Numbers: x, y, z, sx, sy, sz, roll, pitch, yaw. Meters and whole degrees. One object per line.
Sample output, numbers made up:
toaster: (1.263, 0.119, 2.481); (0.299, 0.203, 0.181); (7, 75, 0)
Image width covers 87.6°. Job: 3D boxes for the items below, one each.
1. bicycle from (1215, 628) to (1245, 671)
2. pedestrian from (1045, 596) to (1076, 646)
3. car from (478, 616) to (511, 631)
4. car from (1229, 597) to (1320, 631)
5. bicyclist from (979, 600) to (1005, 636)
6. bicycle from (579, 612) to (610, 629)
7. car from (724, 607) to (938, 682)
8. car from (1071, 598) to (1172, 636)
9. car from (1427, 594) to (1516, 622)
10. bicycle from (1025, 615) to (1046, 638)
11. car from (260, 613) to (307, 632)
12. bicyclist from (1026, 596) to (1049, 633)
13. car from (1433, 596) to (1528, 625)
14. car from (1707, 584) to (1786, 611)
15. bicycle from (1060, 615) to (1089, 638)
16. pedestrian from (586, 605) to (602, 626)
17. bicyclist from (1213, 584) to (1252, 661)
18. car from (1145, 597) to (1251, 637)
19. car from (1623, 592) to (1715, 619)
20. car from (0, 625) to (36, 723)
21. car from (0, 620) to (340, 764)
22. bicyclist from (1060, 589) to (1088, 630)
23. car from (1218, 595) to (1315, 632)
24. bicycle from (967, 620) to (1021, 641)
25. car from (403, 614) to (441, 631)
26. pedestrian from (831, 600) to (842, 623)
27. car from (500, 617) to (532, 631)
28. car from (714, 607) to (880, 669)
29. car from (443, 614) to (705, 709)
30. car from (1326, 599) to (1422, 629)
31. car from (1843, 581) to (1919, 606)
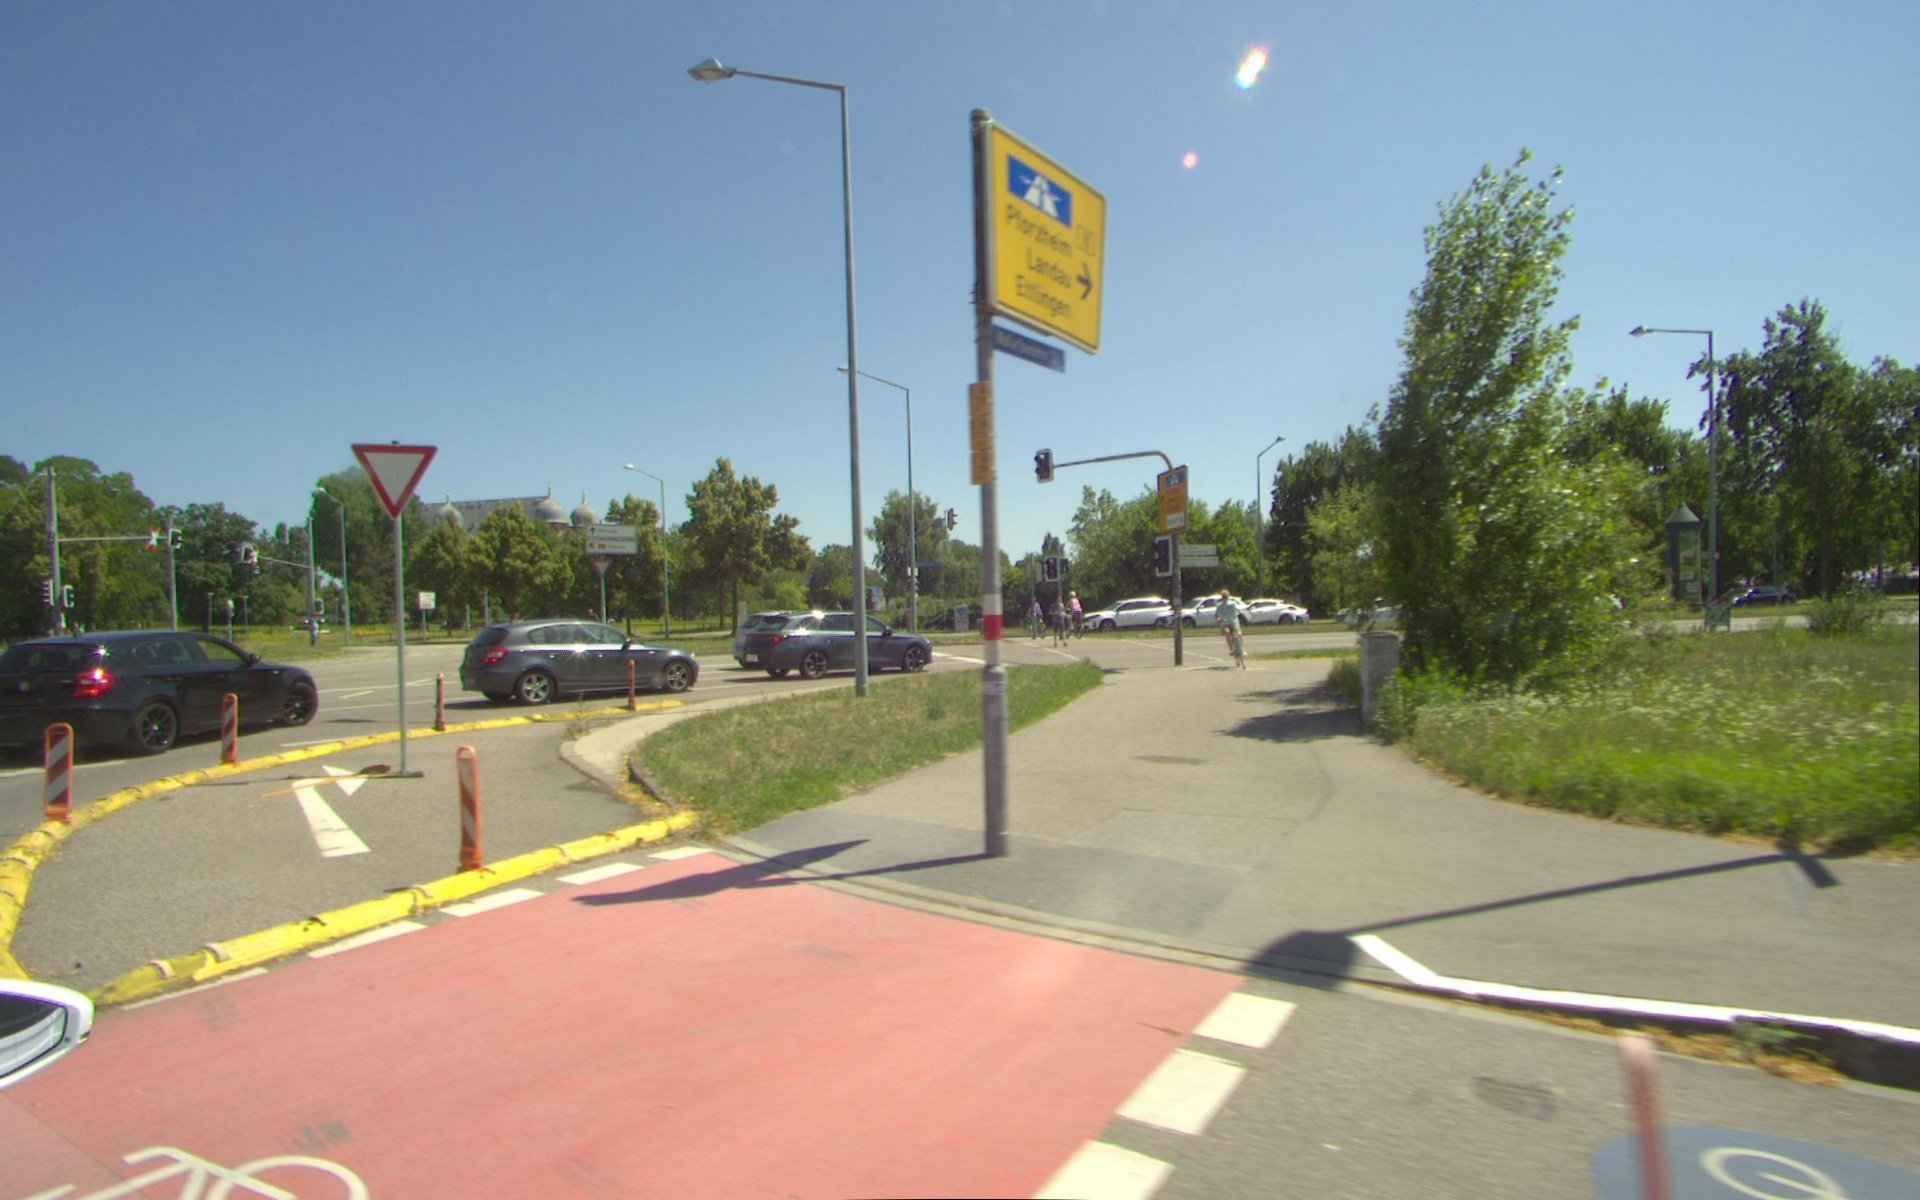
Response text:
bicycle: (6.015, 1.089, 22.301); (0.617, 0.890, 1.874); (-1, -1, 15)
pedestrian: (3.428, 0.730, 34.126); (0.743, 1.658, 0.955); (-1, -1, -14)
car: (-65.001, 3.301, 139.940); (3.930, 2.039, 1.997); (0, -1, -18)
car: (16.748, 0.743, 53.360); (4.328, 1.705, 1.862); (-1, 0, -15)
bicyclist: (1.486, 0.848, 47.051); (0.748, 1.634, 0.969); (0, -2, -43)
bicycle: (-25.572, 1.453, 70.053); (2.024, 1.129, 0.728); (-2, -1, 23)
car: (-2.848, 0.936, 22.560); (4.403, 1.437, 1.984); (-1, 0, -39)
car: (7.647, 0.794, 47.581); (4.328, 1.639, 1.862); (-1, 0, -15)
car: (28.870, 0.447, 56.555); (4.328, 1.441, 1.862); (-1, 0, -15)
bicycle: (3.245, 1.118, 42.981); (0.881, 0.912, 1.761); (0, 1, 5)
car: (-74.964, 2.538, 110.983); (3.930, 2.039, 1.997); (0, -1, -18)
bicyclist: (3.310, 0.609, 42.923); (0.941, 1.552, 1.185); (-1, 1, 4)
car: (27.690, 0.562, 53.294); (4.328, 1.441, 1.862); (-1, 0, -15)
car: (45.610, -0.131, 58.096); (3.729, 1.493, 1.719); (0, -2, -16)
bicycle: (4.649, 1.075, 40.726); (0.881, 0.912, 2.227); (0, -1, -1)
pedestrian: (-25.604, 1.088, 70.052); (0.804, 1.469, 0.708); (-1, -1, 23)
bicyclist: (6.098, 0.488, 22.374); (0.735, 1.662, 1.160); (-1, 1, 19)
car: (10.848, 0.745, 45.737); (4.328, 1.705, 1.862); (-1, 0, -15)
car: (39.811, 0.317, 56.272); (4.328, 1.441, 1.862); (-1, 0, -15)
car: (-14.448, 1.056, 13.392); (1.801, 1.421, 3.652); (0, -1, -21)
car: (-9.980, 1.024, 12.663); (1.768, 1.459, 4.000); (0, 0, 1)
bicyclist: (4.607, 0.382, 40.599); (0.941, 1.630, 1.186); (-1, -1, -1)
car: (15.290, 0.662, 50.022); (4.328, 1.705, 1.862); (-1, 0, -15)
bicycle: (1.568, 1.444, 46.951); (0.733, 0.924, 2.902); (0, -2, -43)
car: (-67.350, 2.818, 125.373); (3.930, 2.039, 1.997); (0, -1, -18)
pedestrian: (-9.526, 0.869, 77.160); (0.564, 1.753, 0.674); (-1, -1, 16)
car: (-64.292, 3.460, 145.050); (3.925, 2.039, 1.999); (-1, -1, -10)
car: (-4.250, 0.942, 26.368); (3.950, 1.441, 1.769); (-1, 0, -37)
car: (-6.816, 1.002, 17.978); (1.734, 1.422, 4.044); (0, 1, 43)
car: (21.352, 0.703, 51.639); (4.328, 1.441, 1.862); (-1, 0, -15)
car: (56.500, -0.418, 61.060); (4.328, 1.441, 1.862); (-1, 0, -15)
